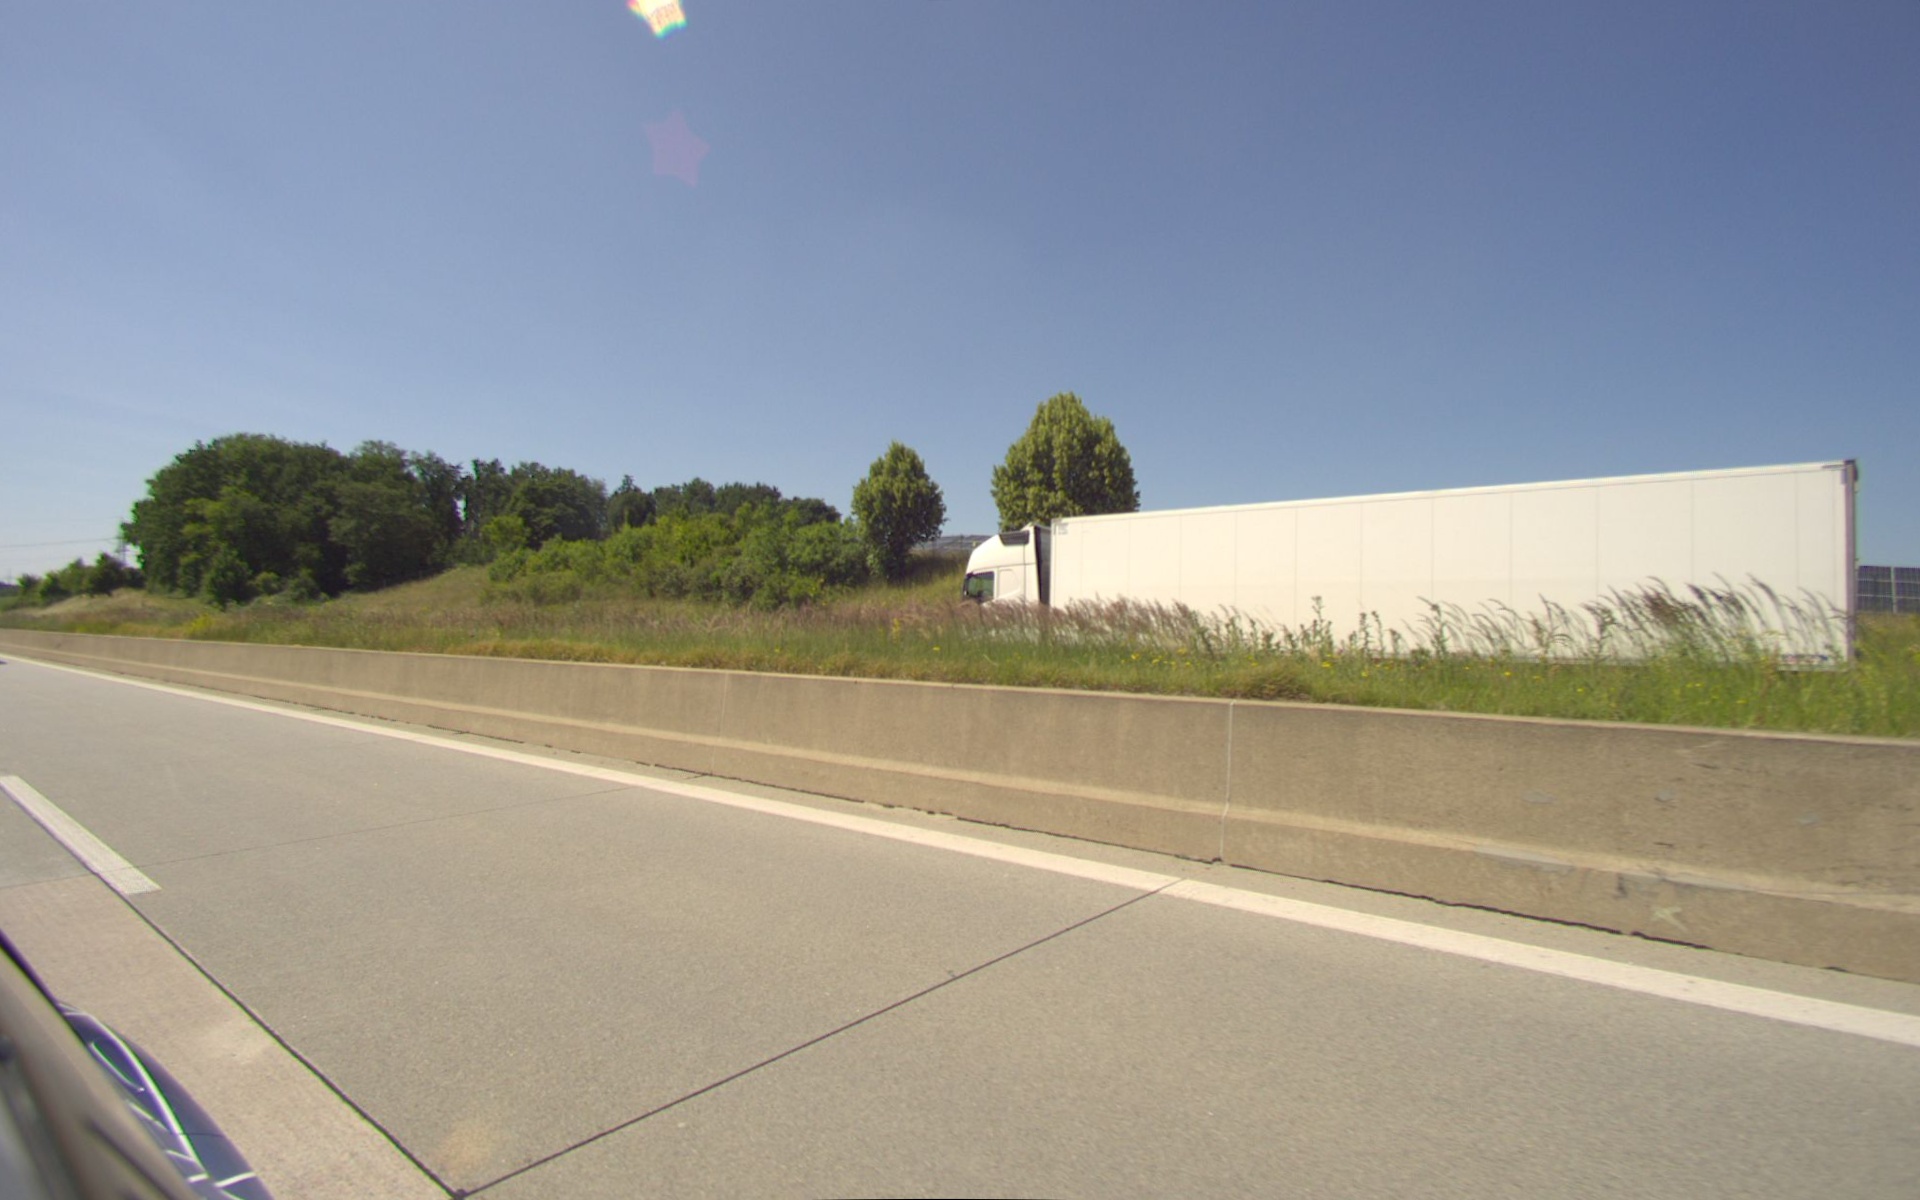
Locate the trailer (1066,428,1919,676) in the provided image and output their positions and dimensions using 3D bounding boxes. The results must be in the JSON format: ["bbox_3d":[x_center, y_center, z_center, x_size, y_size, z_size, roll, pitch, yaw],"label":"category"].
[{"bbox_3d":[8.660,-0.586,18.275,14.500,3.207,2.803,-1,0,42],"label":"trailer"}]

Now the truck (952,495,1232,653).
[{"bbox_3d":[2.932,-0.525,23.369,5.824,3.181,2.803,-1,0,41],"label":"truck"}]
